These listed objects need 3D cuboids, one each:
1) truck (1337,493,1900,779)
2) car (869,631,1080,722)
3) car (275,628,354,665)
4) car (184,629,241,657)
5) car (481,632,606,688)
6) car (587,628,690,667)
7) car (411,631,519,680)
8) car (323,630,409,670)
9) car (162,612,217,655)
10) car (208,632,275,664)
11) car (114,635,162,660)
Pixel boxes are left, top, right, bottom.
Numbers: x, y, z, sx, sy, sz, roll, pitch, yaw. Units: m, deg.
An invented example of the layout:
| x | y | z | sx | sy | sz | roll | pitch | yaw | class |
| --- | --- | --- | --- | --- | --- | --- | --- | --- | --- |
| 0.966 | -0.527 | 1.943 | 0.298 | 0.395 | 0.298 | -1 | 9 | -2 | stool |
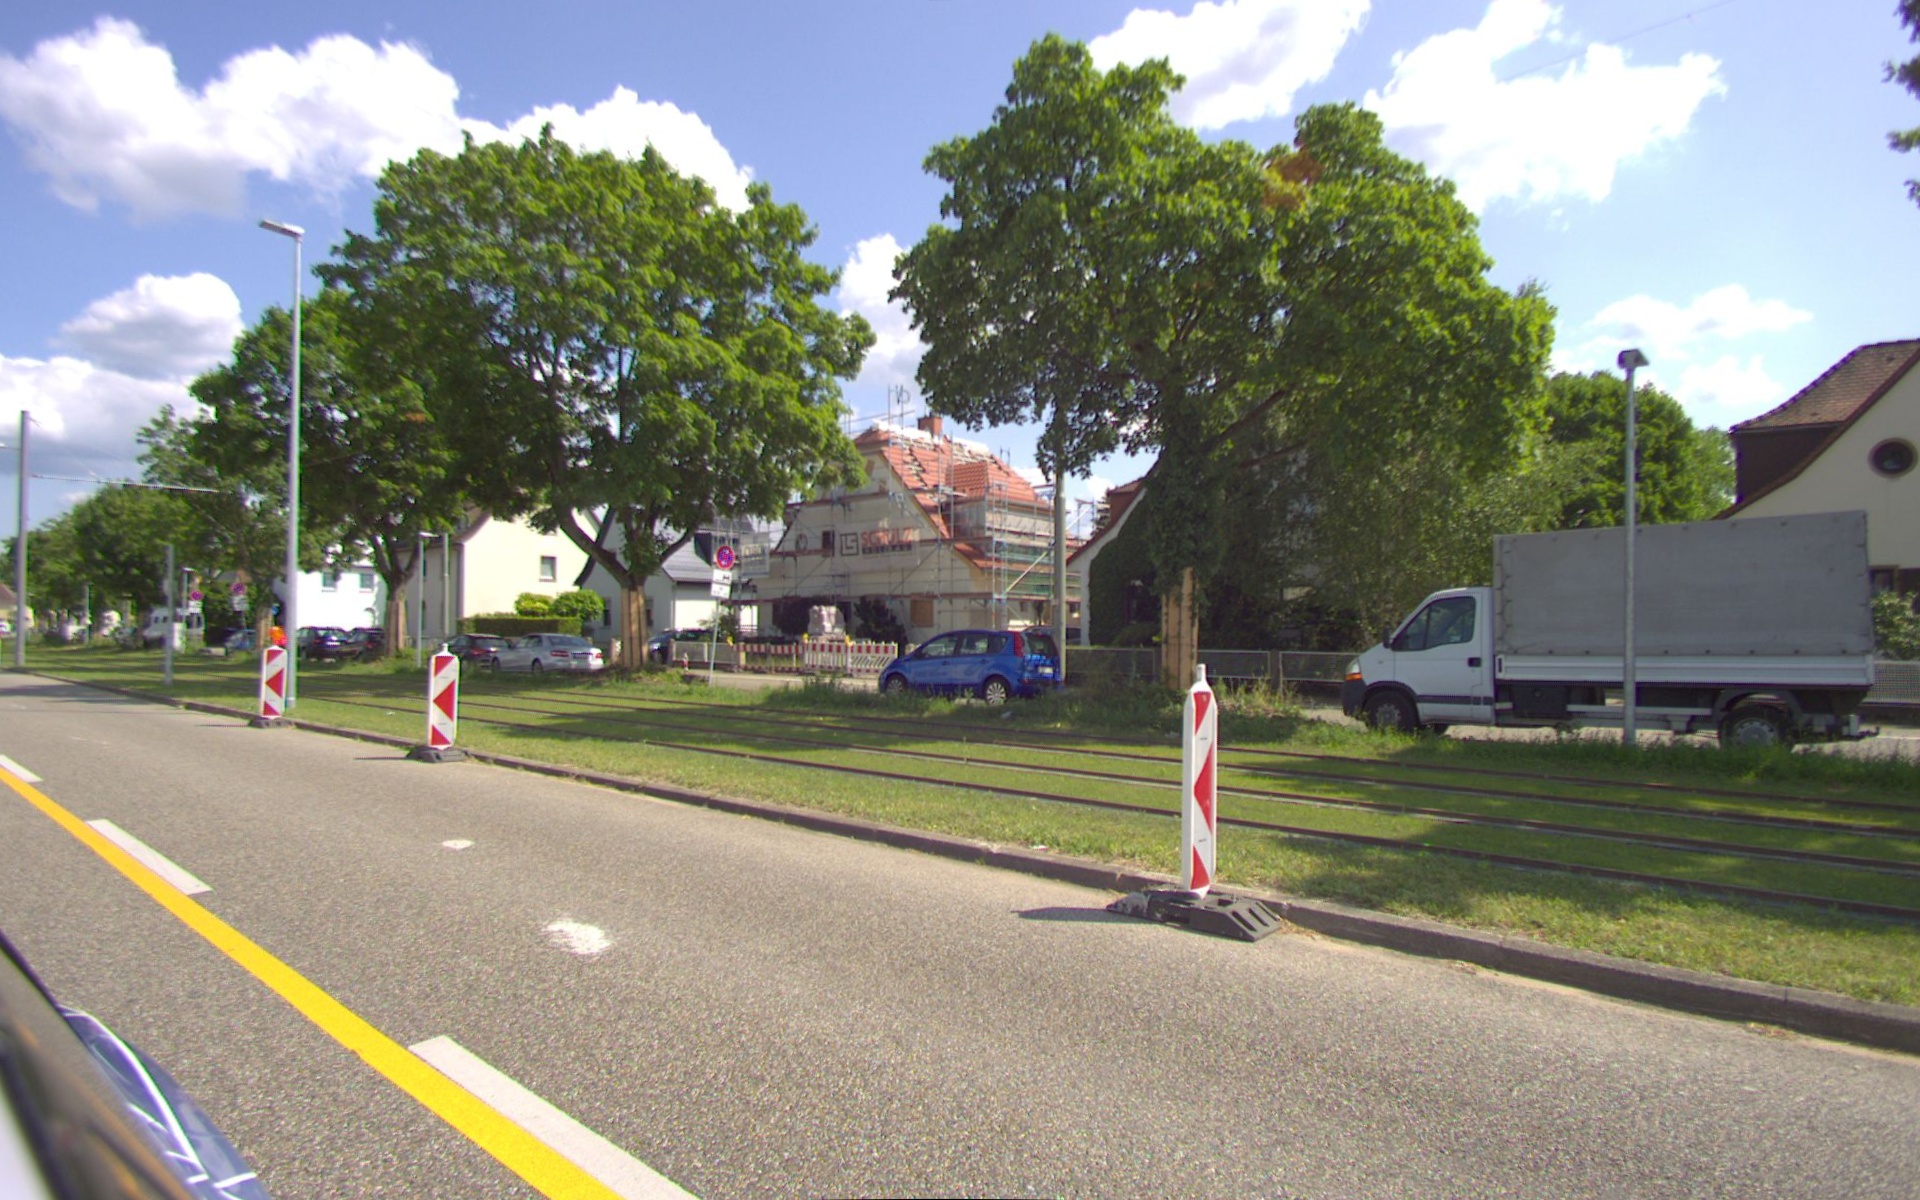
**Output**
| x | y | z | sx | sy | sz | roll | pitch | yaw | class |
| --- | --- | --- | --- | --- | --- | --- | --- | --- | --- |
| 8.285 | 0.468 | 13.354 | 5.871 | 3.010 | 1.982 | -2 | -3 | 41 | truck |
| 0.226 | 1.446 | 20.188 | 4.047 | 1.623 | 1.733 | -2 | -3 | 40 | car |
| -29.590 | 2.102 | 46.331 | 4.603 | 1.623 | 1.733 | -2 | -3 | 40 | car |
| -44.632 | 2.557 | 60.405 | 4.603 | 1.623 | 1.733 | -2 | -3 | 40 | car |
| -13.161 | 1.834 | 31.860 | 4.603 | 1.623 | 1.733 | -2 | -3 | 40 | car |
| -14.070 | 2.051 | 44.507 | 1.756 | 1.623 | 3.995 | -2 | -3 | 41 | car |
| -17.602 | 1.918 | 35.931 | 4.603 | 1.623 | 1.733 | -2 | -3 | 40 | car |
| -25.171 | 2.077 | 42.827 | 4.603 | 1.623 | 1.733 | -2 | -3 | 40 | car |
| -48.818 | 2.111 | 64.097 | 4.603 | 2.636 | 1.733 | -2 | -3 | 40 | car |
| -37.632 | 2.473 | 52.980 | 4.603 | 1.623 | 1.733 | -2 | -3 | 40 | car |
| -57.009 | 3.273 | 70.151 | 4.603 | 1.623 | 1.733 | -2 | -3 | 40 | car |
